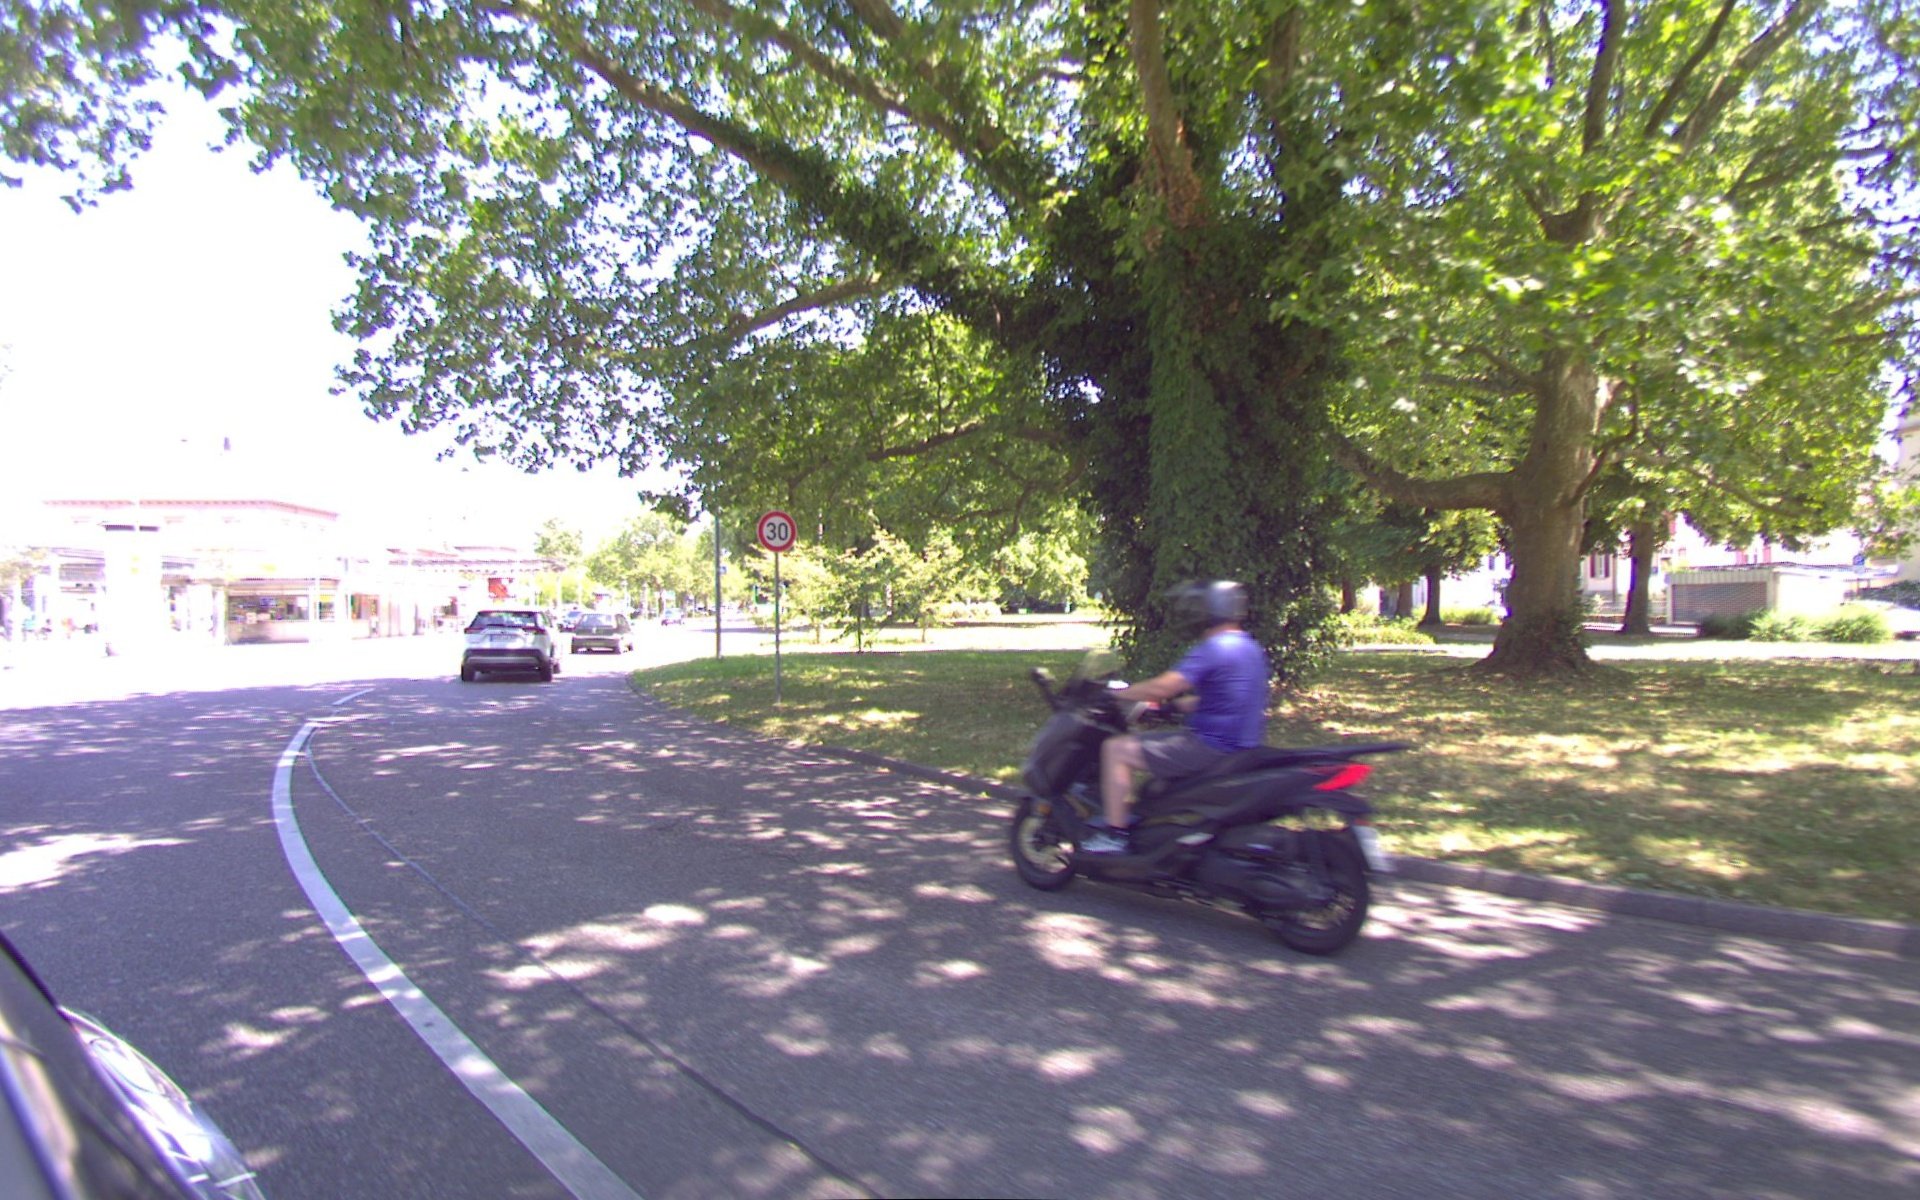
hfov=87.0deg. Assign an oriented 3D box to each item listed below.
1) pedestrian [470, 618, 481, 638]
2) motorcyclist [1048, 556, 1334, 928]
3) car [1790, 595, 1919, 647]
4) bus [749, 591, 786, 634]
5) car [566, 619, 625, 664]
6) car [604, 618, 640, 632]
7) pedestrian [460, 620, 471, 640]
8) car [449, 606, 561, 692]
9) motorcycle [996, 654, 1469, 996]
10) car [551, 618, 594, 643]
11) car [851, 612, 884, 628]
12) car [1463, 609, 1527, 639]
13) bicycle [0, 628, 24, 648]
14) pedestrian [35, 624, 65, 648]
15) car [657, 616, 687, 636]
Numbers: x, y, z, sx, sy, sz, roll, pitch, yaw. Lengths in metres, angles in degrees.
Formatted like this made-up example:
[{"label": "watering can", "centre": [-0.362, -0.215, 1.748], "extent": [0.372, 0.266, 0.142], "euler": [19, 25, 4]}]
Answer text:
[{"label": "pedestrian", "centre": [-30.551, 1.740, 63.822], "extent": [0.495, 1.241, 0.514], "euler": [-1, -1, -14]}, {"label": "motorcyclist", "centre": [1.118, 0.606, 4.942], "extent": [1.104, 1.567, 0.799], "euler": [-1, -1, 41]}, {"label": "car", "centre": [34.019, 0.758, 37.970], "extent": [1.972, 1.792, 4.506], "euler": [-1, -1, 0]}, {"label": "bus", "centre": [-16.331, 1.079, 86.498], "extent": [2.771, 3.328, 11.880], "euler": [-1, -1, -9]}, {"label": "car", "centre": [-12.497, 1.413, 34.883], "extent": [1.618, 1.428, 4.011], "euler": [1, -2, -16]}, {"label": "car", "centre": [-42.024, 3.070, 125.866], "extent": [3.934, 1.677, 2.005], "euler": [-1, -1, -11]}, {"label": "pedestrian", "centre": [-31.048, 1.901, 63.543], "extent": [0.483, 1.220, 0.472], "euler": [-1, -1, -2]}, {"label": "car", "centre": [-10.282, 1.088, 23.165], "extent": [2.014, 1.760, 4.337], "euler": [1, -2, -20]}, {"label": "motorcycle", "centre": [1.221, 0.915, 4.866], "extent": [2.050, 1.241, 0.799], "euler": [-1, -1, 41]}, {"label": "car", "centre": [-25.238, 1.951, 66.058], "extent": [1.751, 1.557, 4.190], "euler": [1, -1, -8]}, {"label": "car", "centre": [-10.995, 2.347, 120.122], "extent": [3.939, 1.817, 2.002], "euler": [-1, -1, -5]}, {"label": "car", "centre": [34.305, 1.503, 65.009], "extent": [1.975, 1.792, 4.499], "euler": [-1, -1, 5]}, {"label": "bicycle", "centre": [-53.653, 2.111, 56.456], "extent": [2.137, 1.081, 0.671], "euler": [1, 2, -4]}, {"label": "pedestrian", "centre": [-50.809, 2.015, 56.532], "extent": [0.948, 1.315, 0.832], "euler": [-1, -1, -7]}, {"label": "car", "centre": [-23.449, 2.067, 82.565], "extent": [1.751, 1.557, 4.190], "euler": [1, -1, -8]}]
